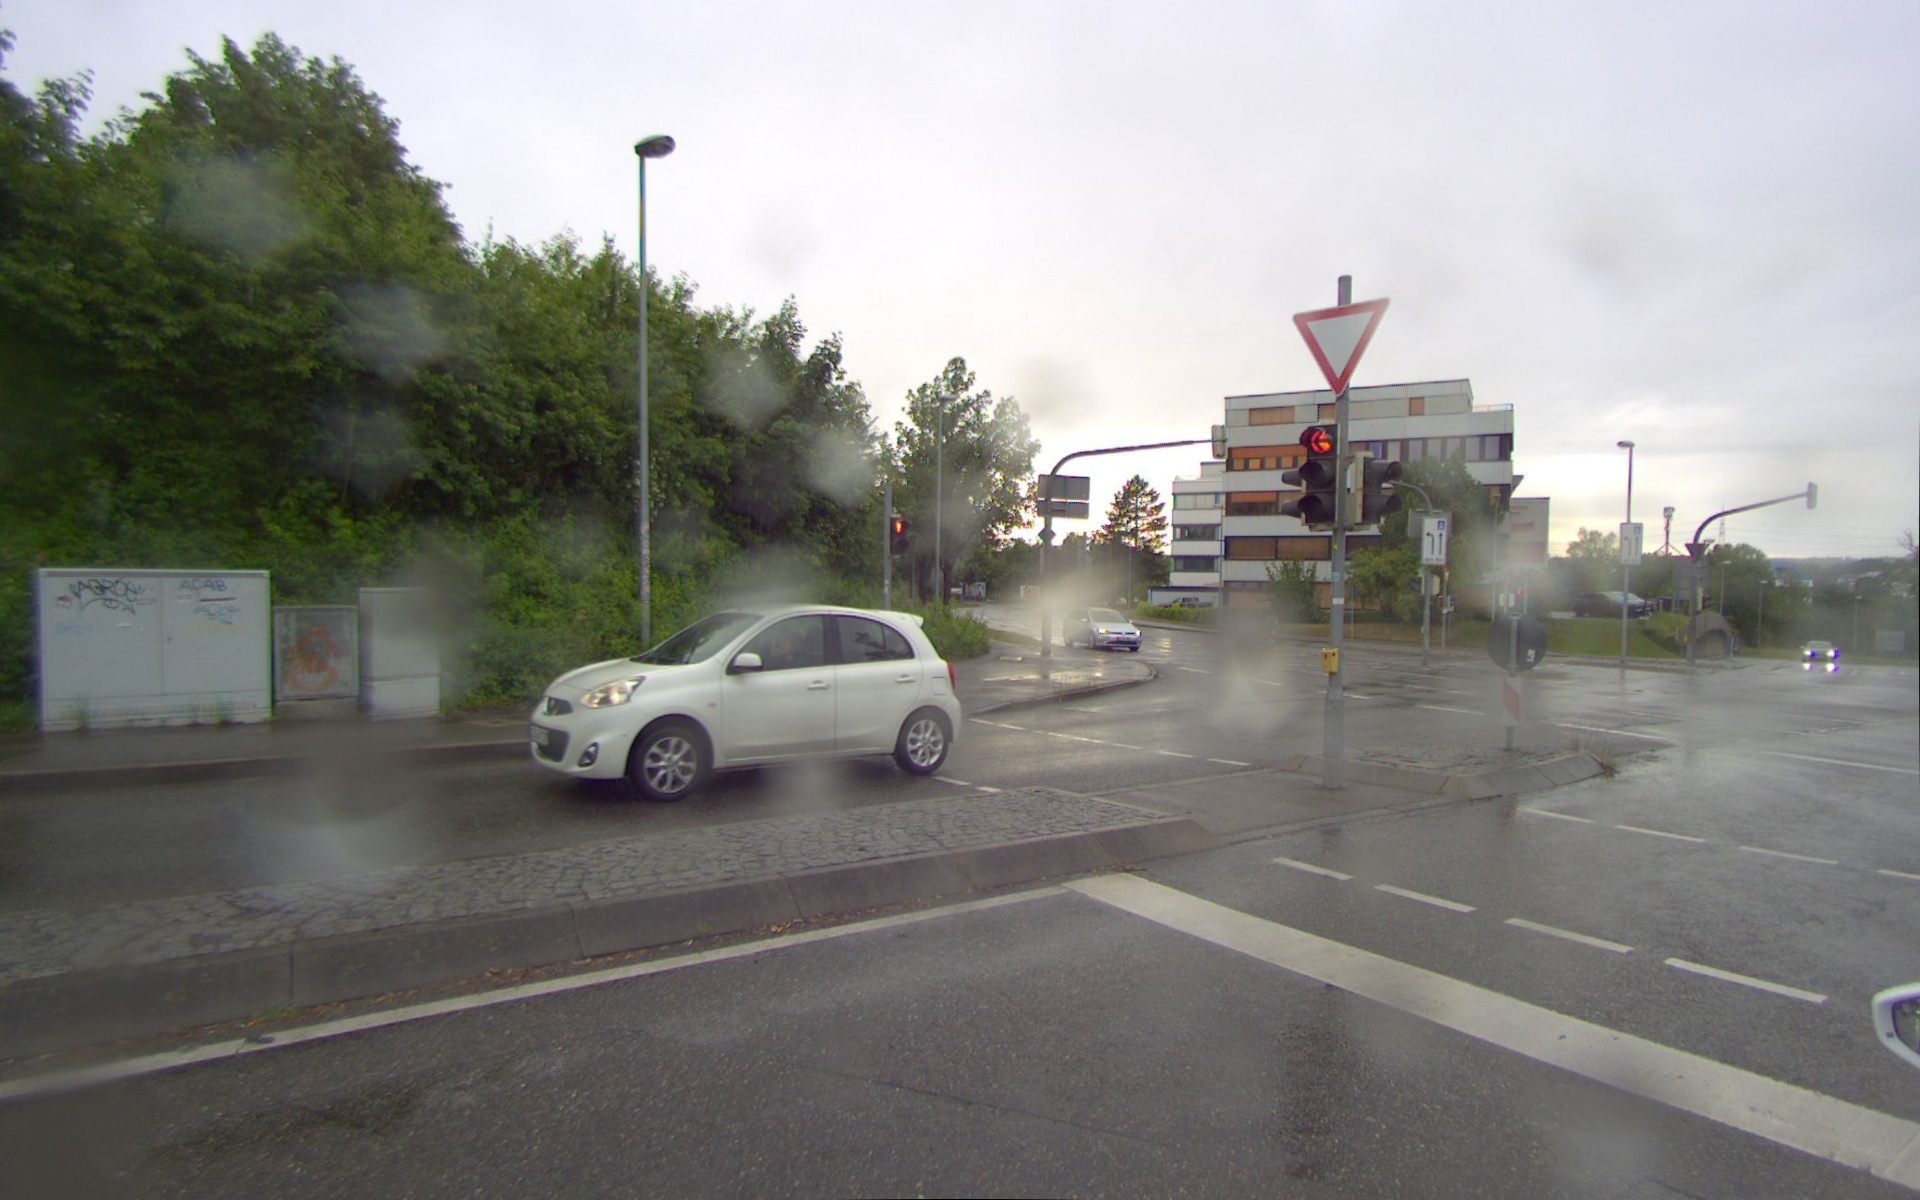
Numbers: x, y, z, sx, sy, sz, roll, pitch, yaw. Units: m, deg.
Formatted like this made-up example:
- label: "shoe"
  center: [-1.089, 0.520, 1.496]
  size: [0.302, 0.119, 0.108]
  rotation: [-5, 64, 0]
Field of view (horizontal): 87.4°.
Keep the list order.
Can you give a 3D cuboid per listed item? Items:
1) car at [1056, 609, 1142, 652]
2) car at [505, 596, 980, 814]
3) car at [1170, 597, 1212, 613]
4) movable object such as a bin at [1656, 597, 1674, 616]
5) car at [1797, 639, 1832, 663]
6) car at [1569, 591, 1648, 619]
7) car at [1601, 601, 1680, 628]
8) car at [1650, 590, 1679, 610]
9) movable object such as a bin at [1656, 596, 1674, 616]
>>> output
- label: "car"
  center: [4.972, 1.067, 36.593]
  size: [1.731, 1.381, 4.523]
  rotation: [2, 0, -11]
- label: "car"
  center: [-1.782, 0.770, 8.853]
  size: [3.789, 1.525, 1.608]
  rotation: [1, -1, -39]
- label: "car"
  center: [22.150, 0.474, 96.270]
  size: [3.686, 1.418, 2.000]
  rotation: [1, 1, 19]
- label: "movable object such as a bin"
  center: [56.522, 0.524, 80.577]
  size: [1.069, 1.456, 1.443]
  rotation: [3, 0, 34]
- label: "car"
  center: [58.689, 3.504, 69.056]
  size: [1.641, 1.514, 3.984]
  rotation: [2, -1, 38]
- label: "car"
  center: [42.426, 0.298, 65.782]
  size: [1.874, 1.607, 3.981]
  rotation: [4, 0, -21]
- label: "car"
  center: [44.890, 0.940, 66.388]
  size: [1.872, 1.607, 3.985]
  rotation: [4, 0, -17]
- label: "car"
  center: [60.934, 0.026, 86.929]
  size: [1.802, 1.461, 3.990]
  rotation: [3, -1, 33]
- label: "movable object such as a bin"
  center: [55.717, 0.494, 79.360]
  size: [1.069, 1.456, 1.443]
  rotation: [3, 0, 34]
